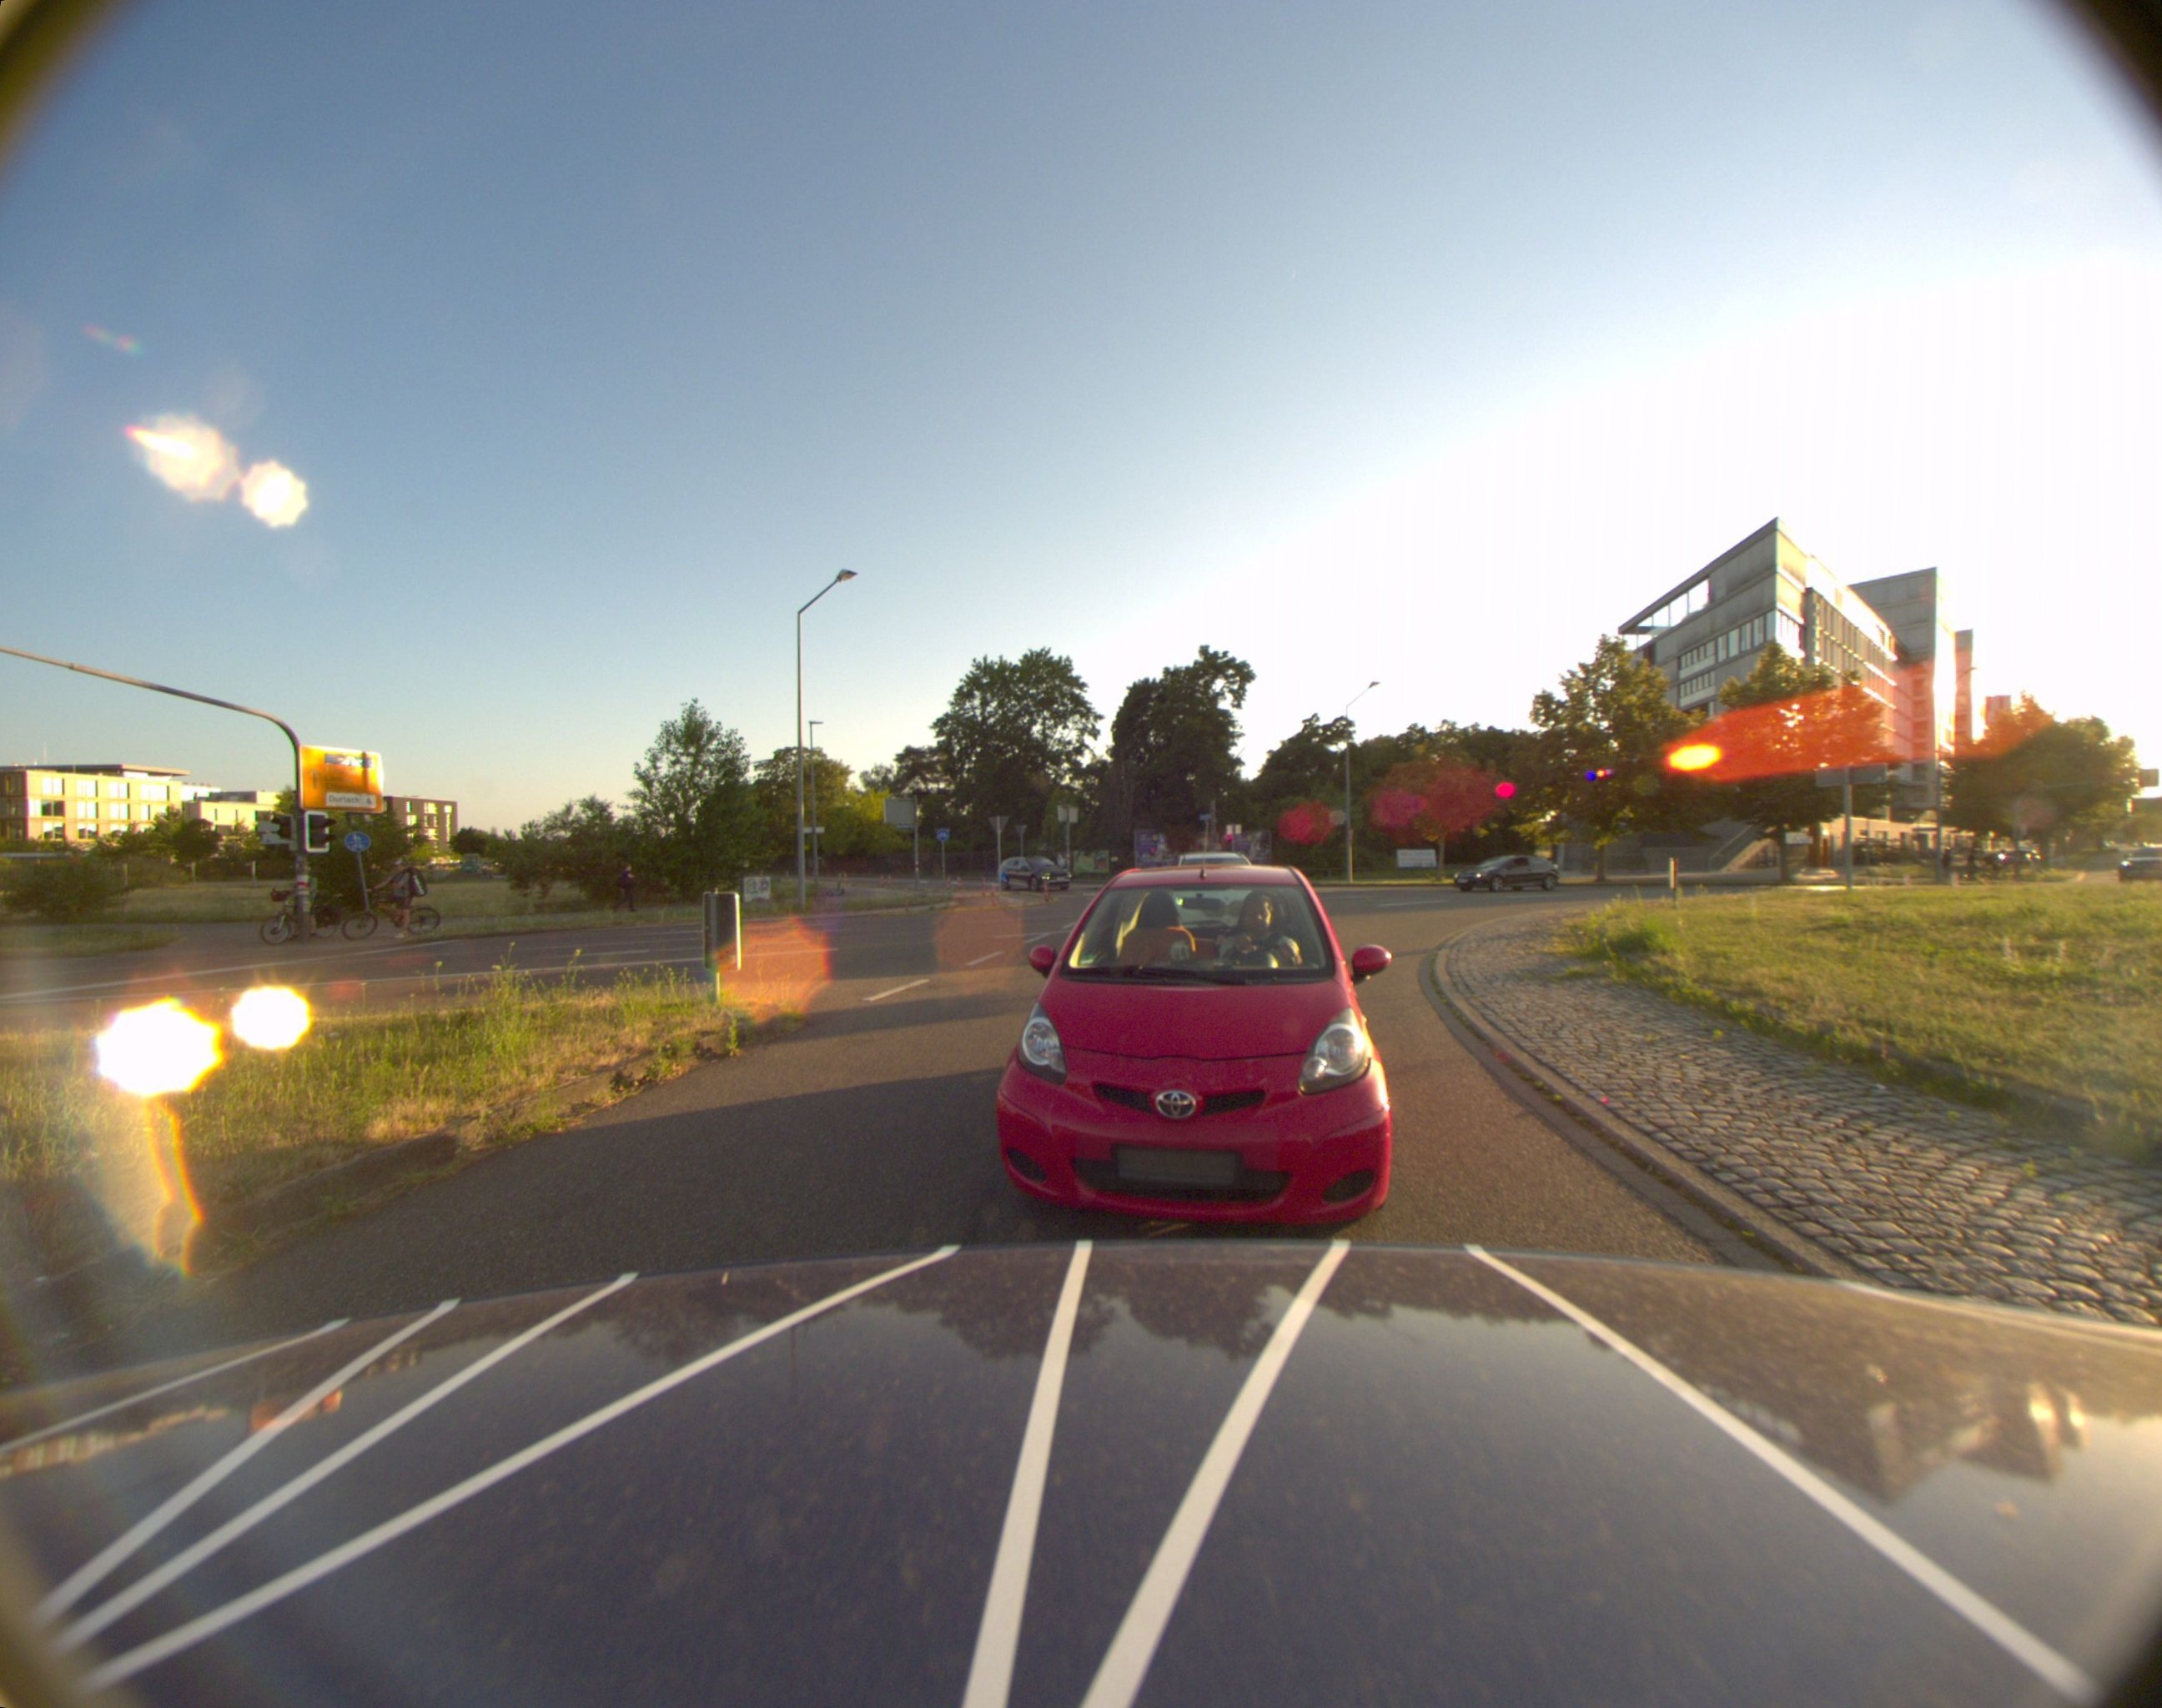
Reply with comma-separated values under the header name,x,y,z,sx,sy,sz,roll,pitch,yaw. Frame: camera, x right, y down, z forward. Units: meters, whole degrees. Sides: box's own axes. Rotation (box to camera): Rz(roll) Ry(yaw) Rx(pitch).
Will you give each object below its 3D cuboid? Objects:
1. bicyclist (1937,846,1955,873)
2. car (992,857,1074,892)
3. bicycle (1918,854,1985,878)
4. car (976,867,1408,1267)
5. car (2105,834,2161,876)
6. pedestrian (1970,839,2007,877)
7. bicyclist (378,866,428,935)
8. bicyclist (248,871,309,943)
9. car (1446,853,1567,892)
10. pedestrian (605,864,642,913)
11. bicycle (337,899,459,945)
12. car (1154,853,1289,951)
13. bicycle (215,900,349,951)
name,x,y,z,sx,sy,sz,roll,pitch,yaw
bicyclist,46.970,0.308,41.265,0.693,1.432,0.610,-2,1,-42
car,-2.405,0.957,37.184,2.004,1.588,4.303,-1,1,-35
bicycle,47.083,0.627,41.123,0.744,1.237,2.341,-2,1,-41
car,0.818,0.848,4.984,1.687,1.412,4.003,-1,0,12
car,48.397,0.062,34.474,5.315,1.801,1.995,0,-2,-33
pedestrian,49.076,0.214,41.092,0.776,2.002,0.998,-2,1,-11
bicyclist,-17.150,1.163,19.222,0.723,1.680,0.690,-1,1,28
bicyclist,-19.335,1.256,18.315,0.724,1.680,0.690,-1,1,12
car,16.667,0.693,29.772,4.128,1.371,1.749,-1,0,-17
pedestrian,-15.395,1.126,25.578,0.993,1.581,0.924,-1,1,-33
bicycle,-17.166,1.678,19.162,0.708,0.957,2.149,-1,0,26
car,2.540,0.803,14.740,1.998,1.597,4.199,-1,0,3
bicycle,-19.277,1.696,18.402,0.708,0.958,2.109,-1,2,14
